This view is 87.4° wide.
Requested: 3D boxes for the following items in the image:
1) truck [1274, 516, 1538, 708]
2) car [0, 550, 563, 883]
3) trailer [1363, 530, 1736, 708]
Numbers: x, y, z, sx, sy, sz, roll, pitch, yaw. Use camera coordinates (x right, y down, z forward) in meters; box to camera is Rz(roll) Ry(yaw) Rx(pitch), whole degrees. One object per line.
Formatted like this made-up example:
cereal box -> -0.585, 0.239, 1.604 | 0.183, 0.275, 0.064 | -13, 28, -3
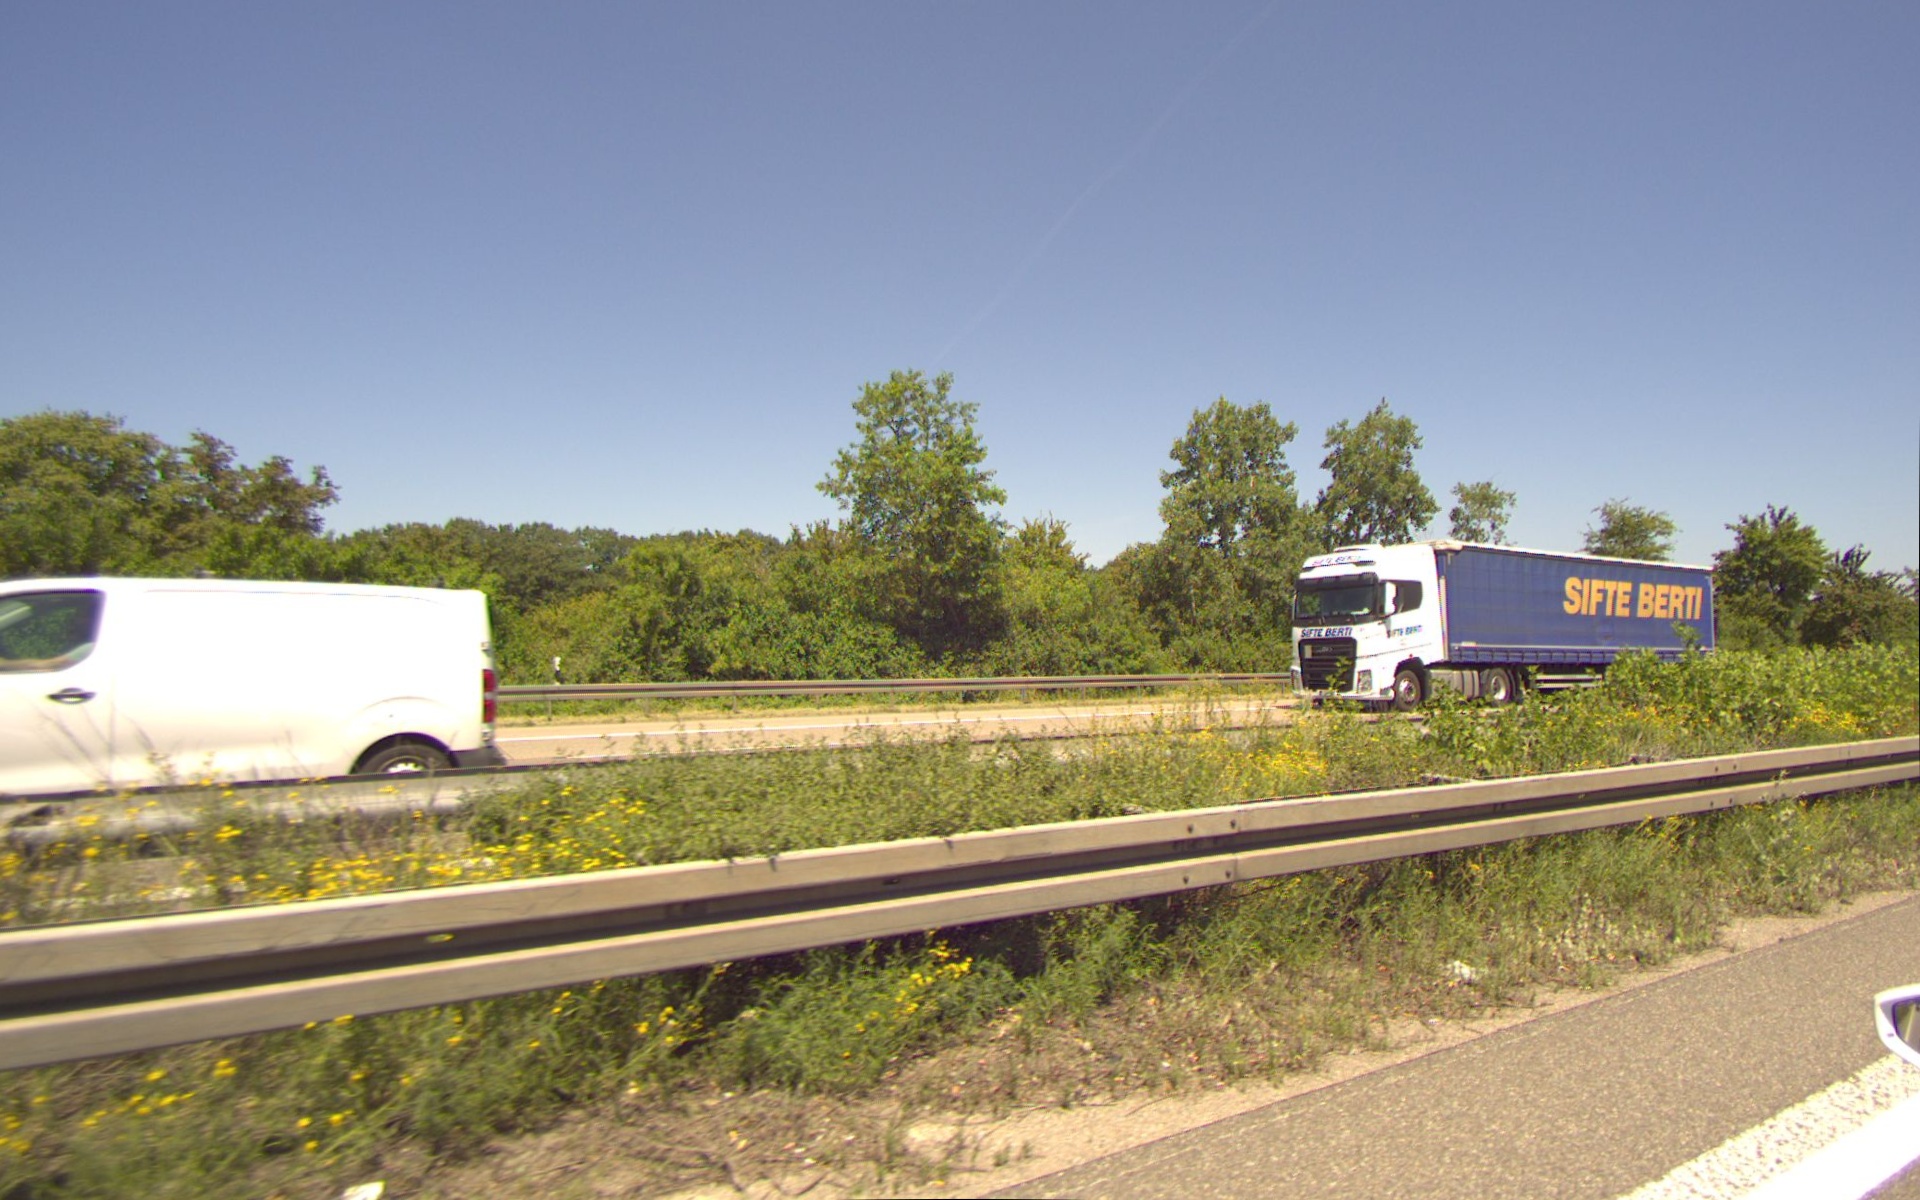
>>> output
truck -> 11.225, 0.485, 25.198 | 6.238, 4.266, 2.993 | 3, -4, -30
car -> -5.710, 0.754, 7.716 | 4.661, 2.100, 1.983 | 2, 0, -32
trailer -> 17.270, 0.861, 28.767 | 13.577, 4.266, 2.964 | 3, -4, -30
